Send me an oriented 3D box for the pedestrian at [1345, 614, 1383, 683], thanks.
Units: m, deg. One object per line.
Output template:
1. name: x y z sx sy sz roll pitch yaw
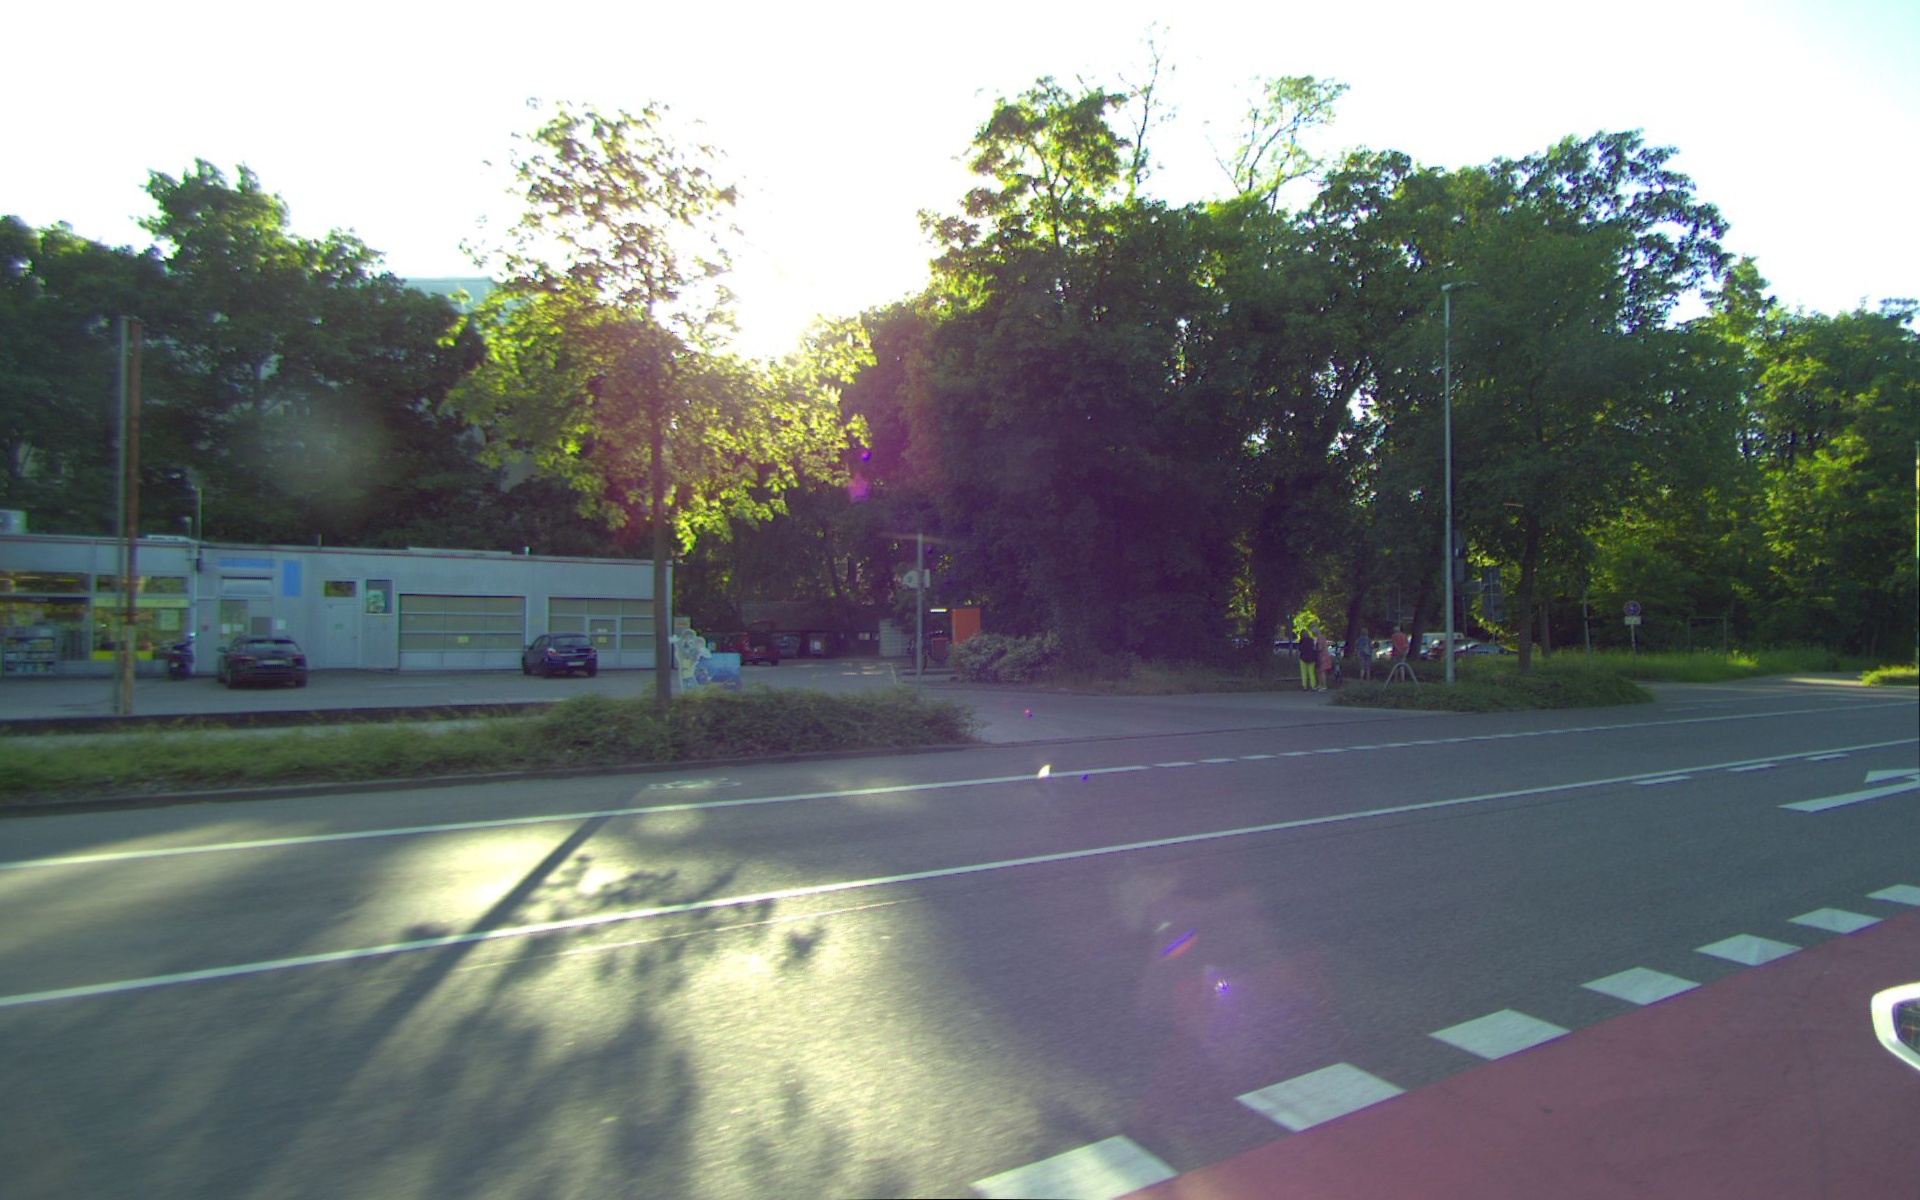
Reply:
1. pedestrian: 12.107 1.443 30.098 0.857 2.040 0.719 0 -2 1

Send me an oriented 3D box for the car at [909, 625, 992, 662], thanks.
1. car: -0.485 2.231 52.006 4.187 1.844 2.000 0 -2 -1

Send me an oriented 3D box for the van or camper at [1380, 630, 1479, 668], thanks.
1. van or camper: 29.692 3.112 63.615 5.313 2.040 2.000 3 -1 -1

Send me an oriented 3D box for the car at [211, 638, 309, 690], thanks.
1. car: -19.788 1.763 28.353 1.705 1.371 3.586 2 -3 -44

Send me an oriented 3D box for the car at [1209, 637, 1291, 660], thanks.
1. car: 17.220 2.874 59.816 4.325 1.332 2.001 0 -2 2

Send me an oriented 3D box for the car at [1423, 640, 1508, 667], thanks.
1. car: 29.528 3.123 58.769 3.919 1.546 2.001 0 -2 4

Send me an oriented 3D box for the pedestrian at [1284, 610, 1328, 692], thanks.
1. pedestrian: 8.796 1.286 25.542 0.785 2.040 0.716 1 -2 -21

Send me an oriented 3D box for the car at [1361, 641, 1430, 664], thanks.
1. car: 29.321 3.542 67.706 3.923 1.486 1.673 0 -2 -3

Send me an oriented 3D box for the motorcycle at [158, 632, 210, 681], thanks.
1. motorcycle: -22.921 1.643 29.692 0.916 1.381 1.829 1 -2 -29

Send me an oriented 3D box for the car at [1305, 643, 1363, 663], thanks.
1. car: 29.298 4.134 78.780 3.923 1.486 1.673 0 -2 -3

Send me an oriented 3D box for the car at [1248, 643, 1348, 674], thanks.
1. car: 16.779 2.891 50.059 4.325 1.501 2.001 0 -2 2

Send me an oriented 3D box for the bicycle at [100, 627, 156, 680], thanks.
1. bicycle: -24.563 1.557 29.694 0.916 1.496 1.829 1 -2 -29

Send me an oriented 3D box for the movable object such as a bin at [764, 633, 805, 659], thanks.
1. movable object such as a bin: -10.068 2.623 57.586 2.088 1.386 1.379 2 0 -23

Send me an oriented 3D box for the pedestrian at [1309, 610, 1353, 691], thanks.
1. pedestrian: 9.540 1.302 25.837 0.785 2.040 0.715 1 -2 -22

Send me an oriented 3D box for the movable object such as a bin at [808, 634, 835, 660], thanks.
1. movable object such as a bin: -7.903 2.674 57.162 1.200 1.386 1.297 1 0 -22

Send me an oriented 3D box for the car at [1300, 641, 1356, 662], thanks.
1. car: 30.894 4.328 84.416 3.922 1.761 2.000 0 -2 -2

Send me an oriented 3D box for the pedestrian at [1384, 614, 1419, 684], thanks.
1. pedestrian: 13.138 1.458 29.887 0.732 2.040 0.719 0 -2 1

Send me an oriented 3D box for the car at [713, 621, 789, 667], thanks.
1. car: -9.546 1.983 45.706 1.980 2.007 3.961 1 -2 -35

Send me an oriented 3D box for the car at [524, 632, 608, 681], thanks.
1. car: -13.635 1.913 34.655 1.880 1.576 3.962 1 -2 -34
